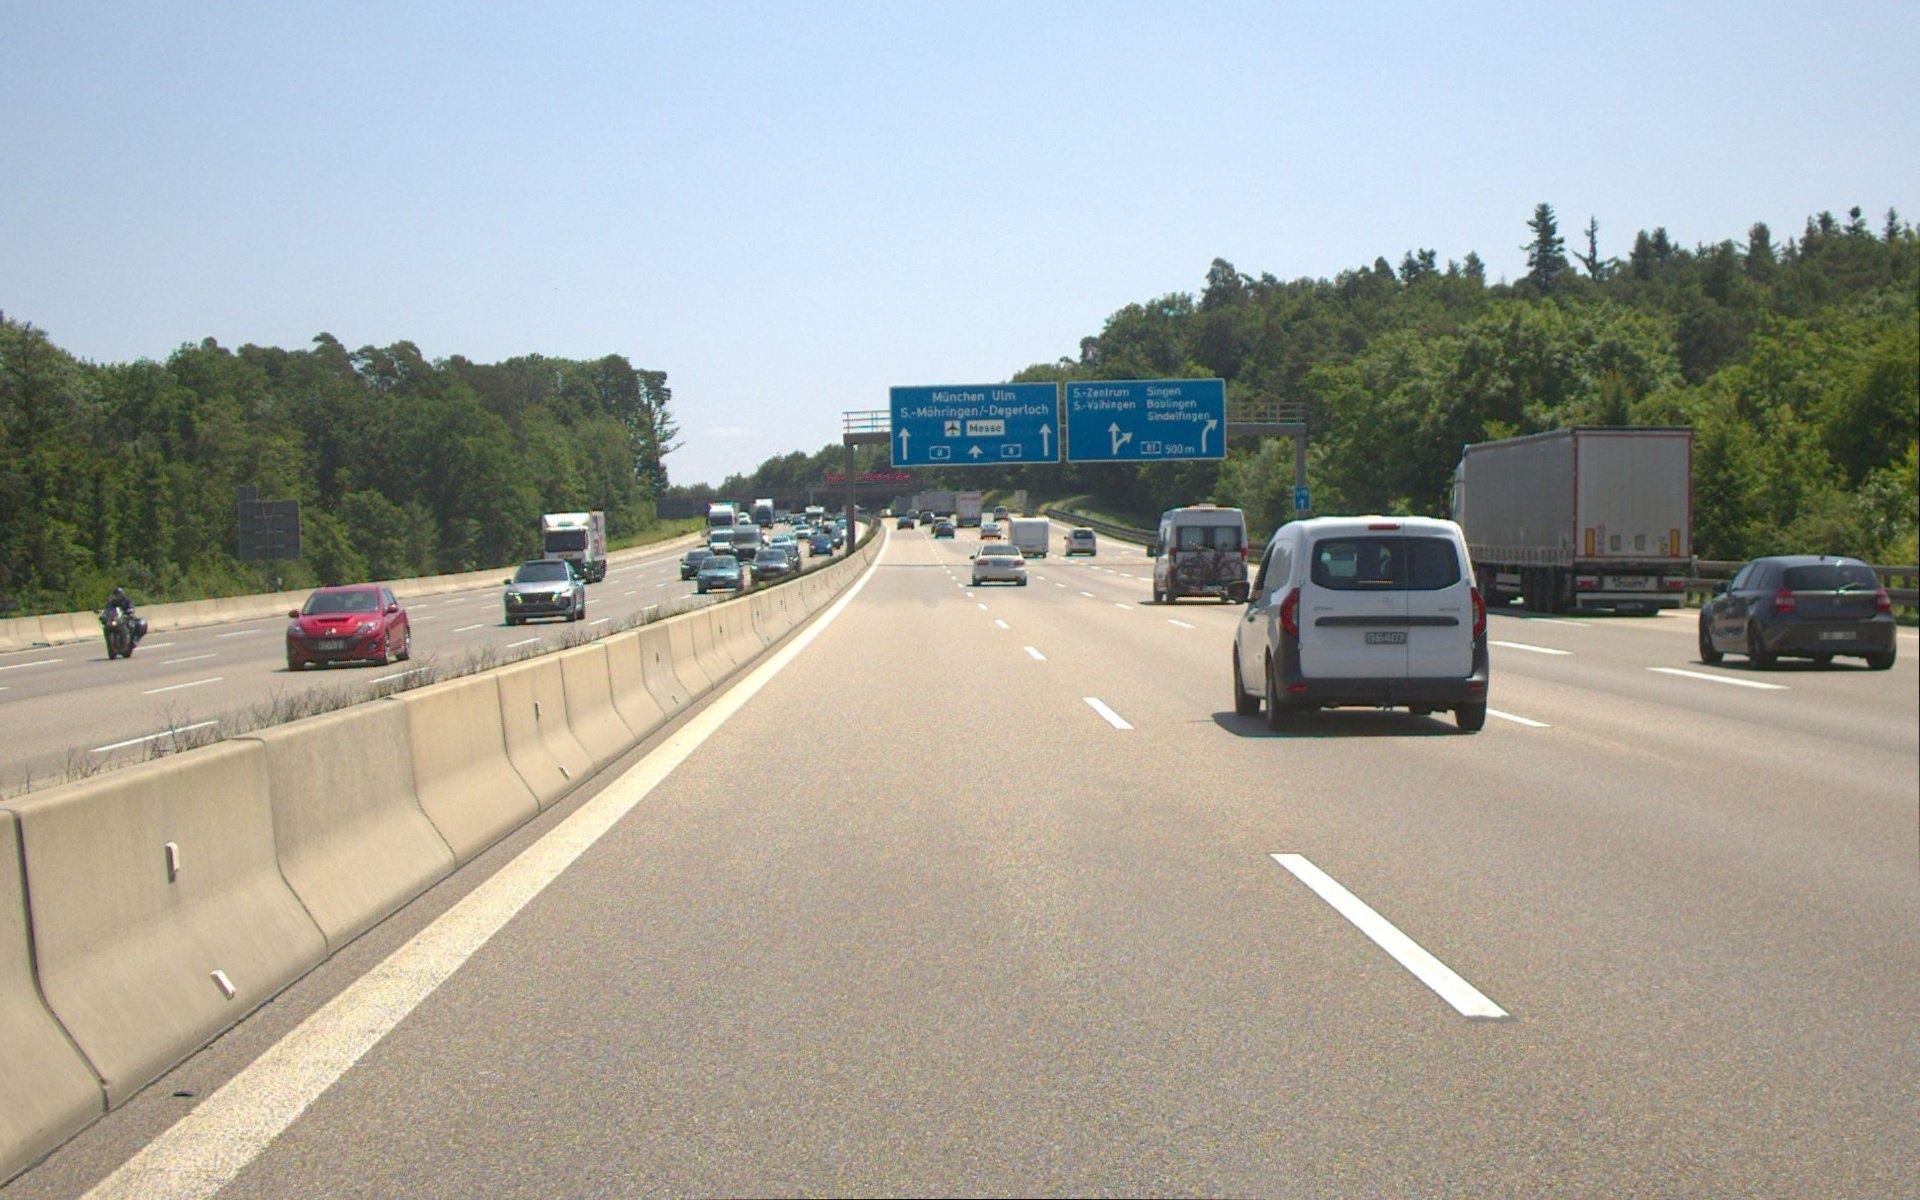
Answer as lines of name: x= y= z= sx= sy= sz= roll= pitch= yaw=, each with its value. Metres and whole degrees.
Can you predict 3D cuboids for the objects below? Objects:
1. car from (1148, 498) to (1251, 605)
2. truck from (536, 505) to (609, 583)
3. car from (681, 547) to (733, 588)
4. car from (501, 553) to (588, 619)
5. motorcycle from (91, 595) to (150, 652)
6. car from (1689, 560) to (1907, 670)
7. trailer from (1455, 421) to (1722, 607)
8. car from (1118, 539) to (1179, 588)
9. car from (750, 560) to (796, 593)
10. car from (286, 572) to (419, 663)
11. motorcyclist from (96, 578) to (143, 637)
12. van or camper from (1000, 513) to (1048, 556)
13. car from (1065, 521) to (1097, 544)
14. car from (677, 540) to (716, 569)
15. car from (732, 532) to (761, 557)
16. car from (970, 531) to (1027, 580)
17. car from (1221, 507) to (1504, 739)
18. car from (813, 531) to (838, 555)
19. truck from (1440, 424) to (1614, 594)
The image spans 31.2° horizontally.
car: x=6.208 y=-1.270 z=89.786 sx=2.143 sy=2.643 sz=5.710 roll=-2 pitch=1 yaw=-1
truck: x=-20.579 y=-2.938 z=182.909 sx=2.719 sy=3.926 sz=10.236 roll=-2 pitch=1 yaw=-1
car: x=-9.884 y=-1.295 z=134.405 sx=1.717 sy=1.507 sz=4.351 roll=-2 pitch=1 yaw=-1
car: x=-11.301 y=-0.399 z=93.678 sx=1.970 sy=1.718 sz=4.509 roll=0 pitch=1 yaw=-2
motorcycle: x=-18.844 y=0.509 z=77.218 sx=0.738 sy=1.210 sz=2.350 roll=-2 pitch=1 yaw=-1
car: x=10.565 y=0.156 z=43.620 sx=1.670 sy=1.269 sz=4.290 roll=-1 pitch=1 yaw=-1
trailer: x=14.242 y=-2.000 z=79.408 sx=3.287 sy=3.917 sz=13.892 roll=0 pitch=2 yaw=-1
car: x=6.681 y=-1.302 z=122.137 sx=1.818 sy=1.634 sz=4.000 roll=-2 pitch=1 yaw=-1
car: x=-8.046 y=-1.022 z=148.242 sx=1.752 sy=1.372 sz=4.491 roll=0 pitch=1 yaw=-1
car: x=-11.009 y=0.289 z=62.501 sx=1.572 sy=1.506 sz=4.030 roll=-2 pitch=1 yaw=1
motorcyclist: x=-18.846 y=0.164 z=77.113 sx=0.760 sy=1.297 sz=1.078 roll=-2 pitch=1 yaw=-1
van or camper: x=3.943 y=-4.021 z=212.878 sx=2.645 sy=2.530 sz=6.502 roll=-2 pitch=1 yaw=-1
car: x=7.708 y=-4.294 z=219.559 sx=1.835 sy=1.333 sz=3.643 roll=-2 pitch=1 yaw=-1
car: x=-13.553 y=-2.353 z=176.979 sx=1.717 sy=1.444 sz=4.909 roll=-1 pitch=2 yaw=-2
car: x=-14.133 y=-3.681 z=227.993 sx=1.705 sy=1.559 sz=3.760 roll=-1 pitch=1 yaw=-1
car: x=1.338 y=-1.563 z=121.734 sx=1.843 sy=1.623 sz=4.553 roll=-2 pitch=1 yaw=-1
car: x=3.440 y=0.155 z=30.180 sx=1.860 sy=1.819 sz=4.612 roll=-2 pitch=1 yaw=0
car: x=-9.726 y=-4.120 z=248.731 sx=1.705 sy=1.656 sz=3.760 roll=-1 pitch=1 yaw=-1
truck: x=14.096 y=-2.275 z=85.938 sx=3.254 sy=4.092 sz=5.988 roll=0 pitch=2 yaw=-1
